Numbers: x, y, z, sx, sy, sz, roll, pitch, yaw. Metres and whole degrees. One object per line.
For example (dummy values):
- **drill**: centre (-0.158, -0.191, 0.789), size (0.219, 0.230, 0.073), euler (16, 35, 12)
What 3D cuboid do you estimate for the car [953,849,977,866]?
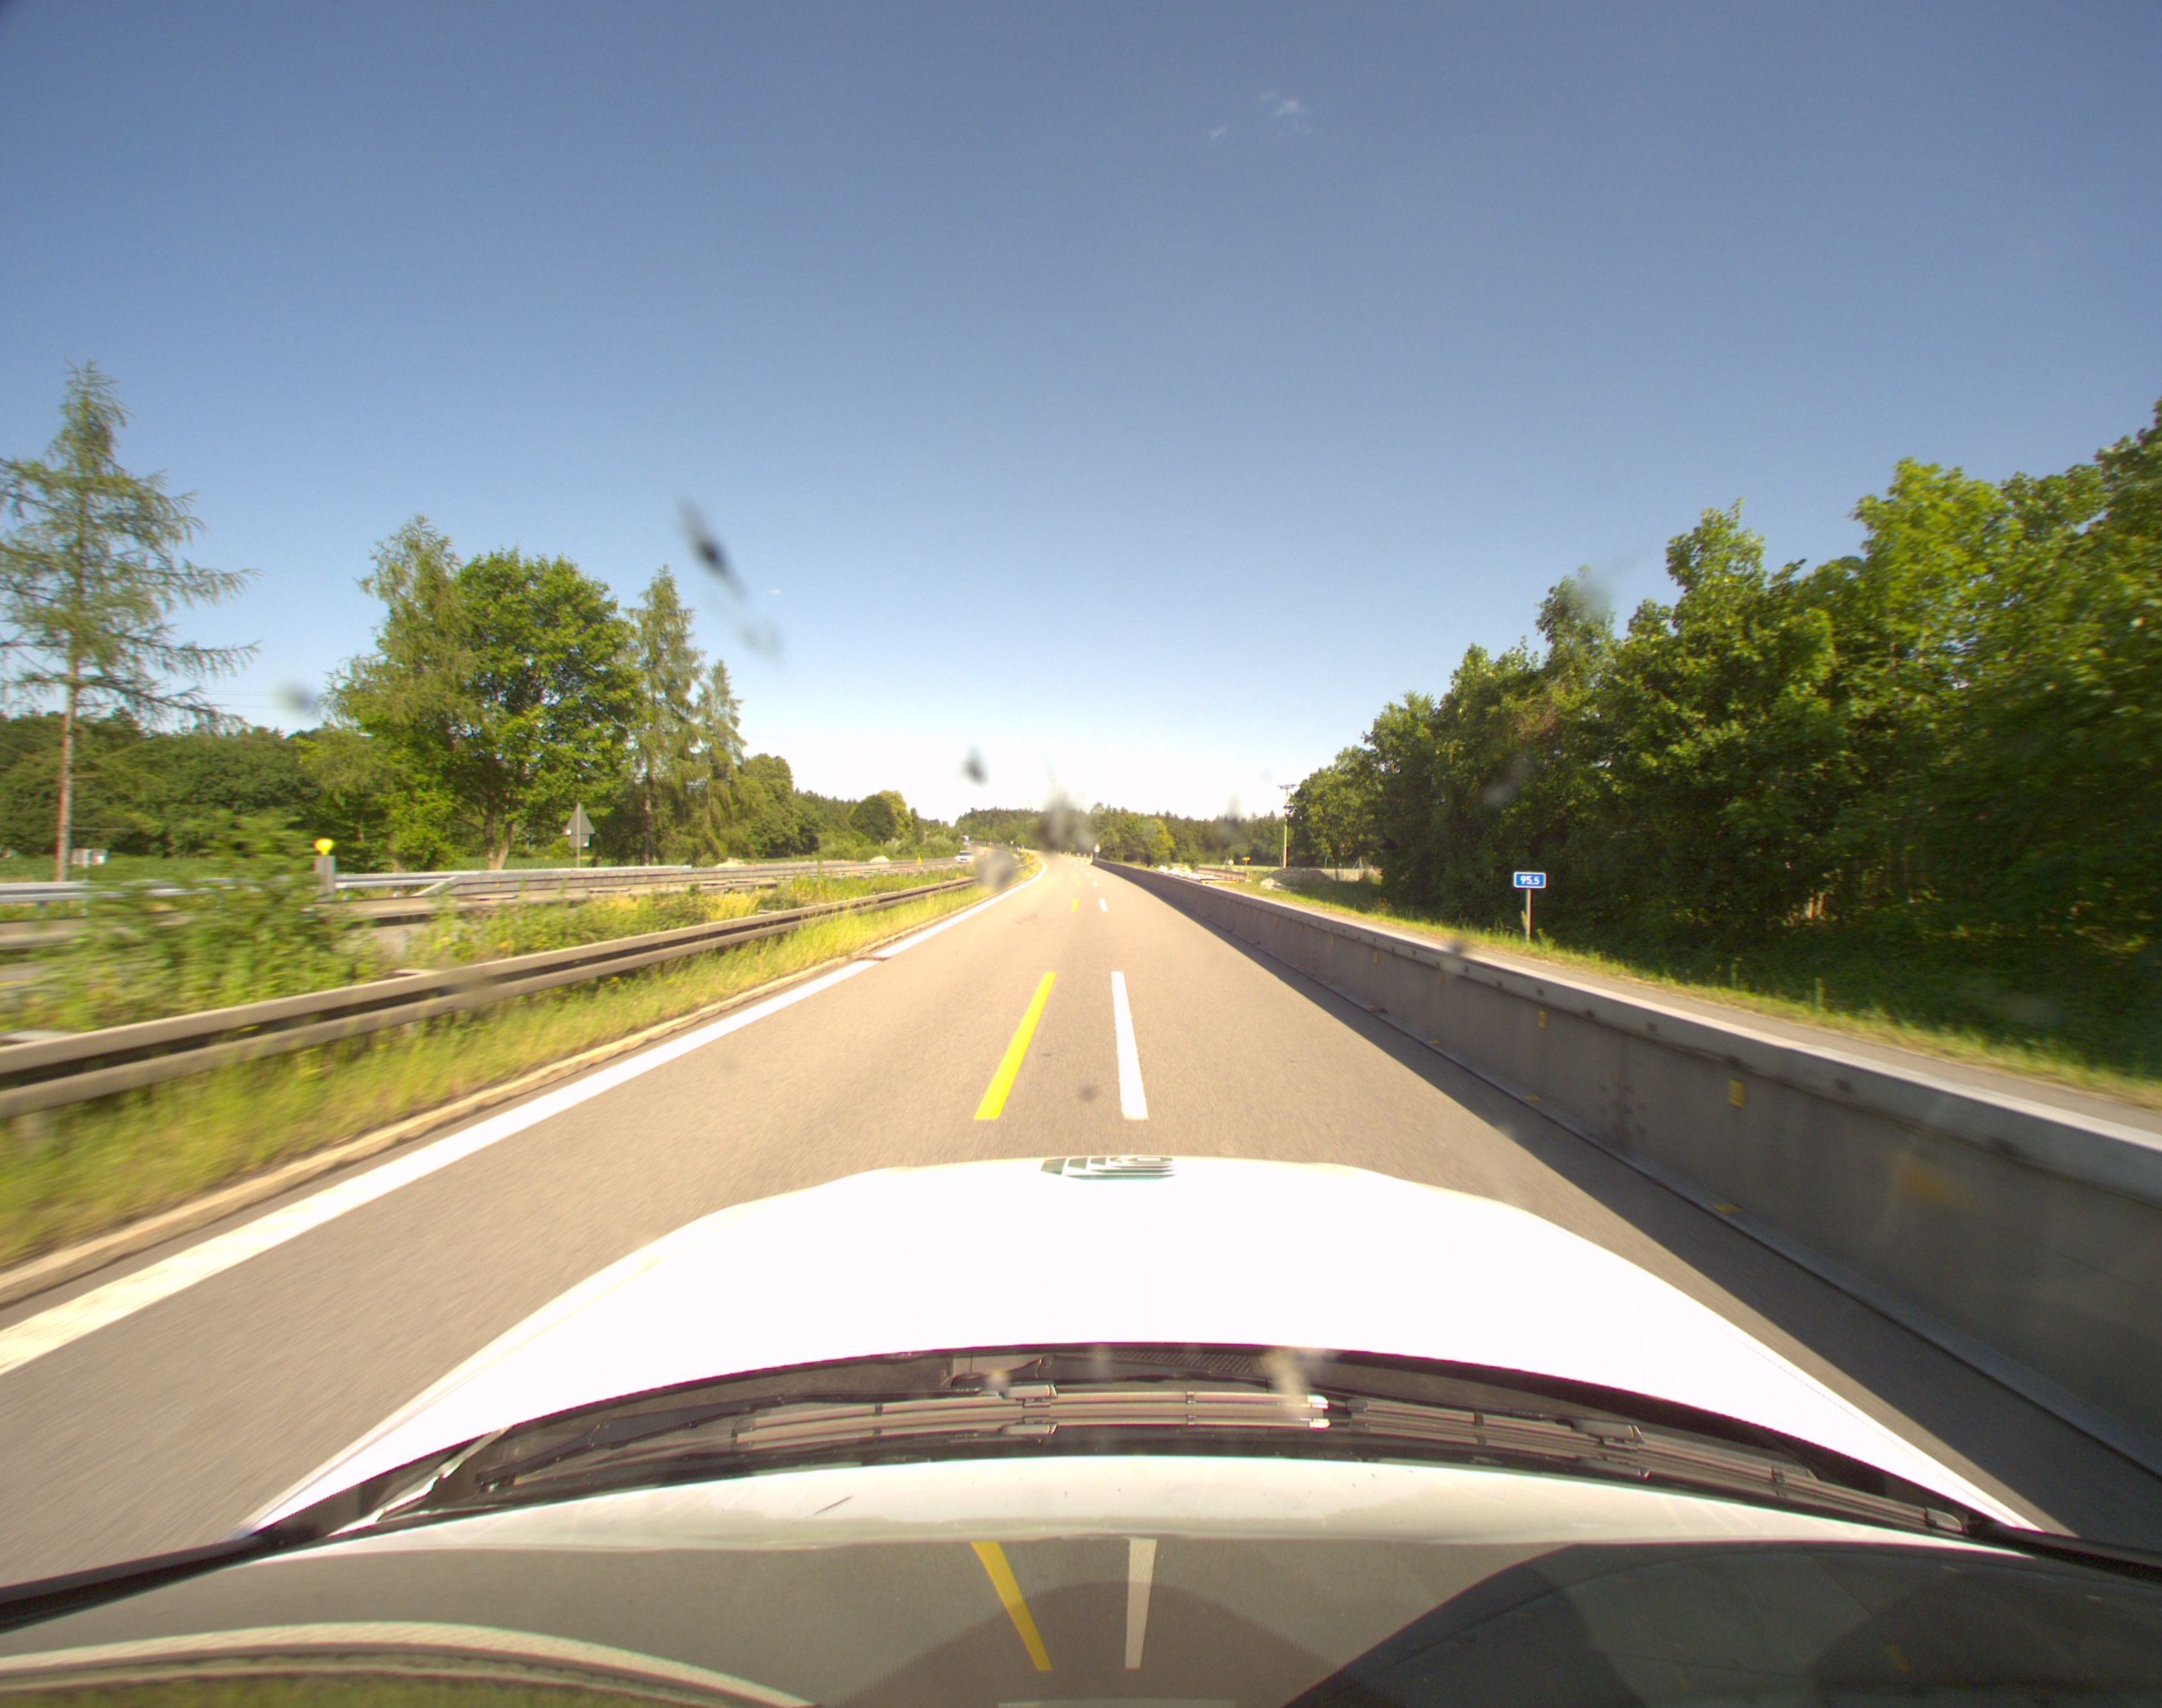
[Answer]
- **car**: centre (-11.276, 0.353, 79.407), size (1.754, 1.512, 4.532), euler (0, -1, -1)
